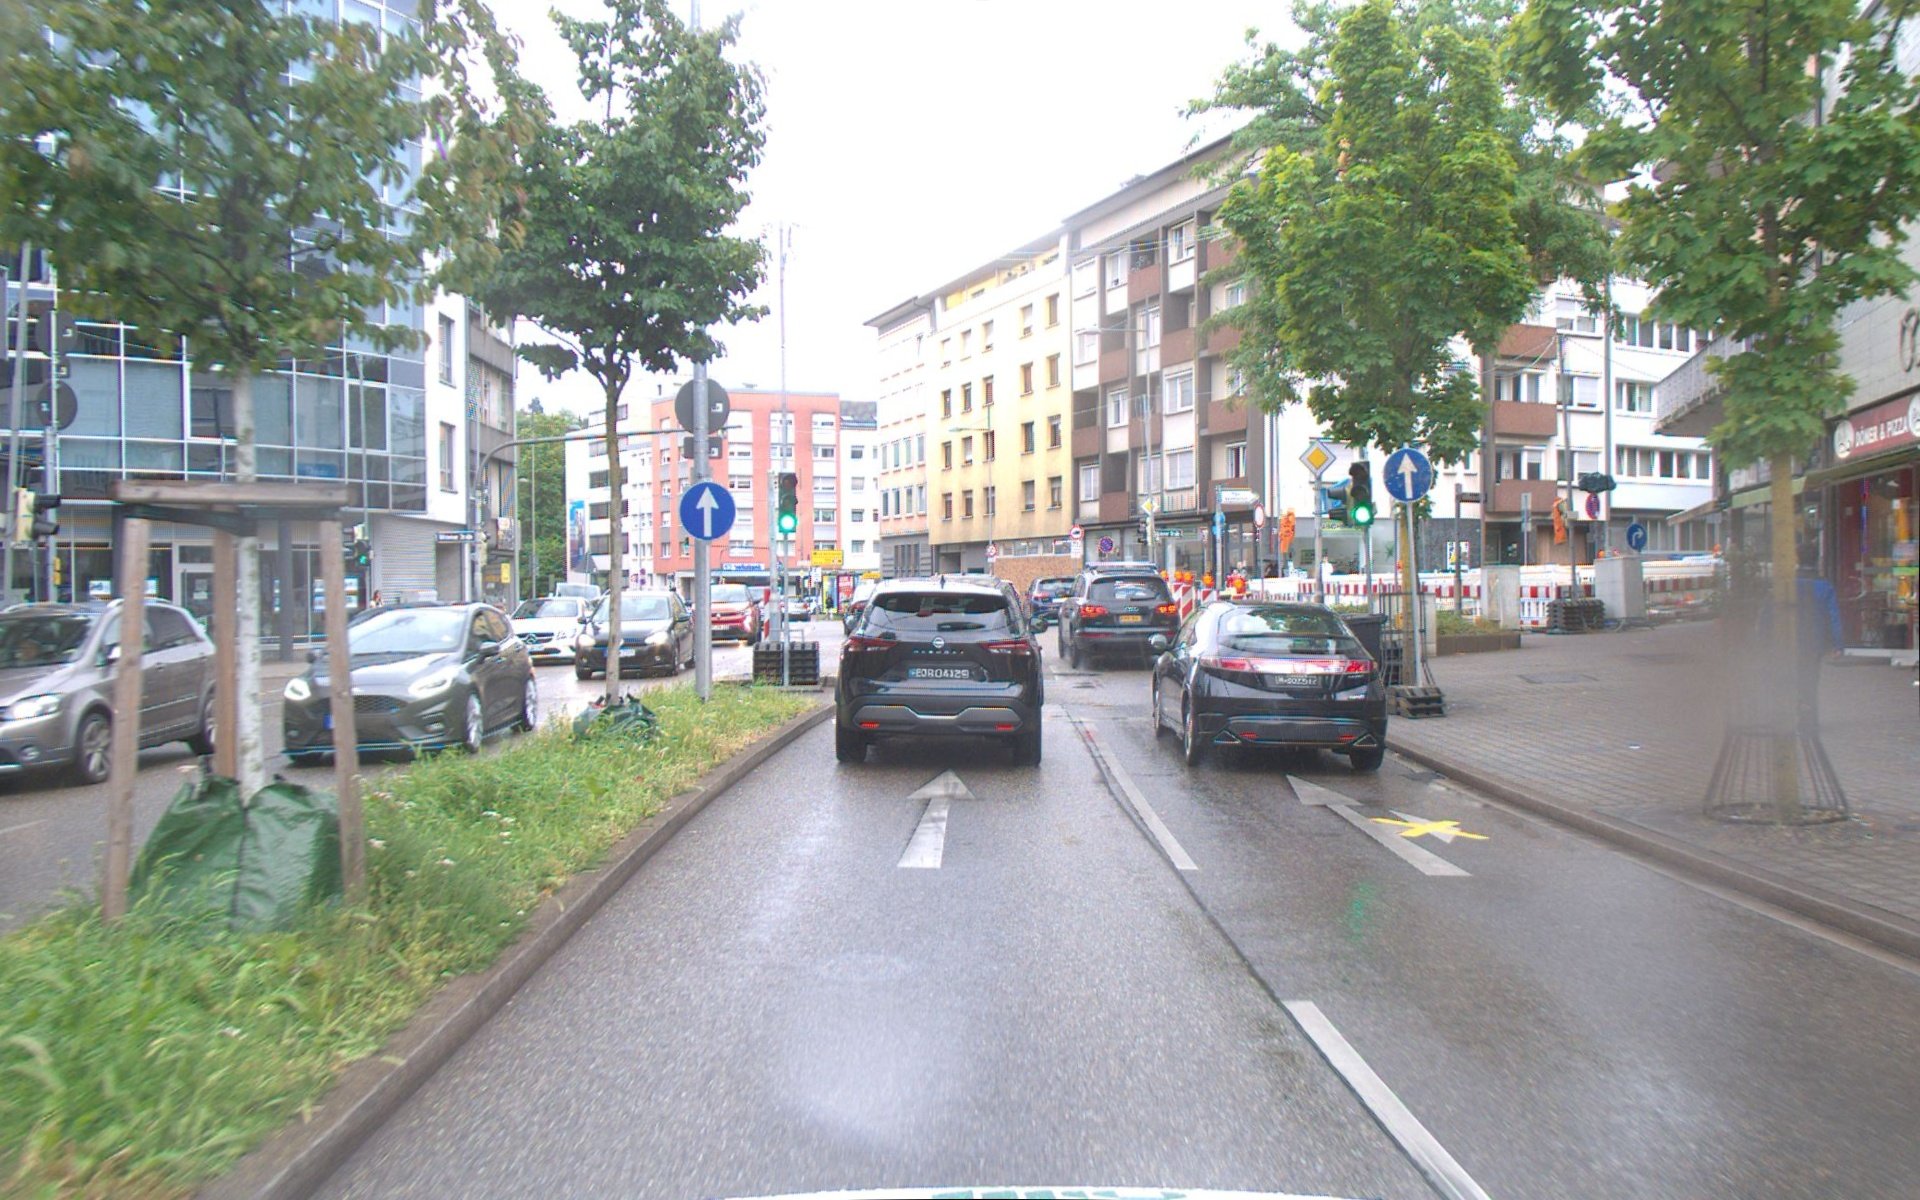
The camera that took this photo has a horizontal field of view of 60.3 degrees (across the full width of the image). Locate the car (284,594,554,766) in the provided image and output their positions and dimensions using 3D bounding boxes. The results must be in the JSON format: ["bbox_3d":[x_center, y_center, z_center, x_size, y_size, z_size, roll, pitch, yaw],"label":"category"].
[{"bbox_3d":[-5.340,0.711,16.837,1.502,1.437,3.935,-3,1,-2],"label":"car"}]

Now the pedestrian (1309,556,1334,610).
[{"bbox_3d":[12.166,-0.575,55.676,0.523,1.800,0.616,1,1,-32],"label":"pedestrian"}]

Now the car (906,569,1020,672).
[{"bbox_3d":[0.006,0.306,28.268,1.786,1.628,3.717,1,1,-1],"label":"car"}]

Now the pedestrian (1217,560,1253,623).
[{"bbox_3d":[9.024,-0.293,54.250,0.810,2.048,0.835,1,1,-21],"label":"pedestrian"}]

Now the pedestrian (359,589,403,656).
[{"bbox_3d":[-14.332,0.557,40.960,0.775,1.618,0.753,-2,1,-39],"label":"pedestrian"}]

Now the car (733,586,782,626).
[{"bbox_3d":[-7.517,0.198,61.547,1.609,1.368,3.345,-2,1,-5],"label":"car"}]

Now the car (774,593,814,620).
[{"bbox_3d":[-9.102,0.332,90.492,1.614,1.368,3.335,-2,1,-15],"label":"car"}]

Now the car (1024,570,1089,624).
[{"bbox_3d":[3.019,-0.135,52.185,1.793,1.589,3.719,1,2,0],"label":"car"}]

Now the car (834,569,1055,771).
[{"bbox_3d":[-0.169,0.557,15.411,1.786,1.628,3.717,1,1,-1],"label":"car"}]

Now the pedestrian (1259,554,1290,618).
[{"bbox_3d":[10.210,-0.463,53.758,0.805,2.048,0.840,1,1,0],"label":"pedestrian"}]

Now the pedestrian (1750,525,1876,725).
[{"bbox_3d":[7.949,0.221,15.442,0.774,1.786,0.872,-2,0,11],"label":"pedestrian"}]

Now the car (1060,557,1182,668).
[{"bbox_3d":[2.832,0.166,29.836,1.793,1.837,3.719,1,1,0],"label":"car"}]

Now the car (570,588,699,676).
[{"bbox_3d":[-5.712,0.516,29.389,1.637,1.393,3.751,-2,1,-2],"label":"car"}]

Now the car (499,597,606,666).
[{"bbox_3d":[-8.600,0.626,35.140,1.519,1.312,3.347,-2,1,-2],"label":"car"}]

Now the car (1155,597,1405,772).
[{"bbox_3d":[2.887,0.700,15.661,1.749,1.424,3.719,0,1,2],"label":"car"}]

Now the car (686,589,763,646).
[{"bbox_3d":[-6.074,0.429,43.000,1.608,1.344,3.346,-2,1,-3],"label":"car"}]

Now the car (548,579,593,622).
[{"bbox_3d":[-15.118,0.002,64.261,1.522,1.598,3.339,1,0,-11],"label":"car"}]

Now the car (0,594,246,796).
[{"bbox_3d":[-8.328,0.806,15.521,1.599,1.619,3.935,-3,1,-2],"label":"car"}]

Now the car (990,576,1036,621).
[{"bbox_3d":[2.171,-0.091,67.770,1.792,1.713,3.720,1,1,2],"label":"car"}]

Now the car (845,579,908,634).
[{"bbox_3d":[-2.322,0.152,45.869,1.608,1.405,3.346,-2,1,-3],"label":"car"}]
